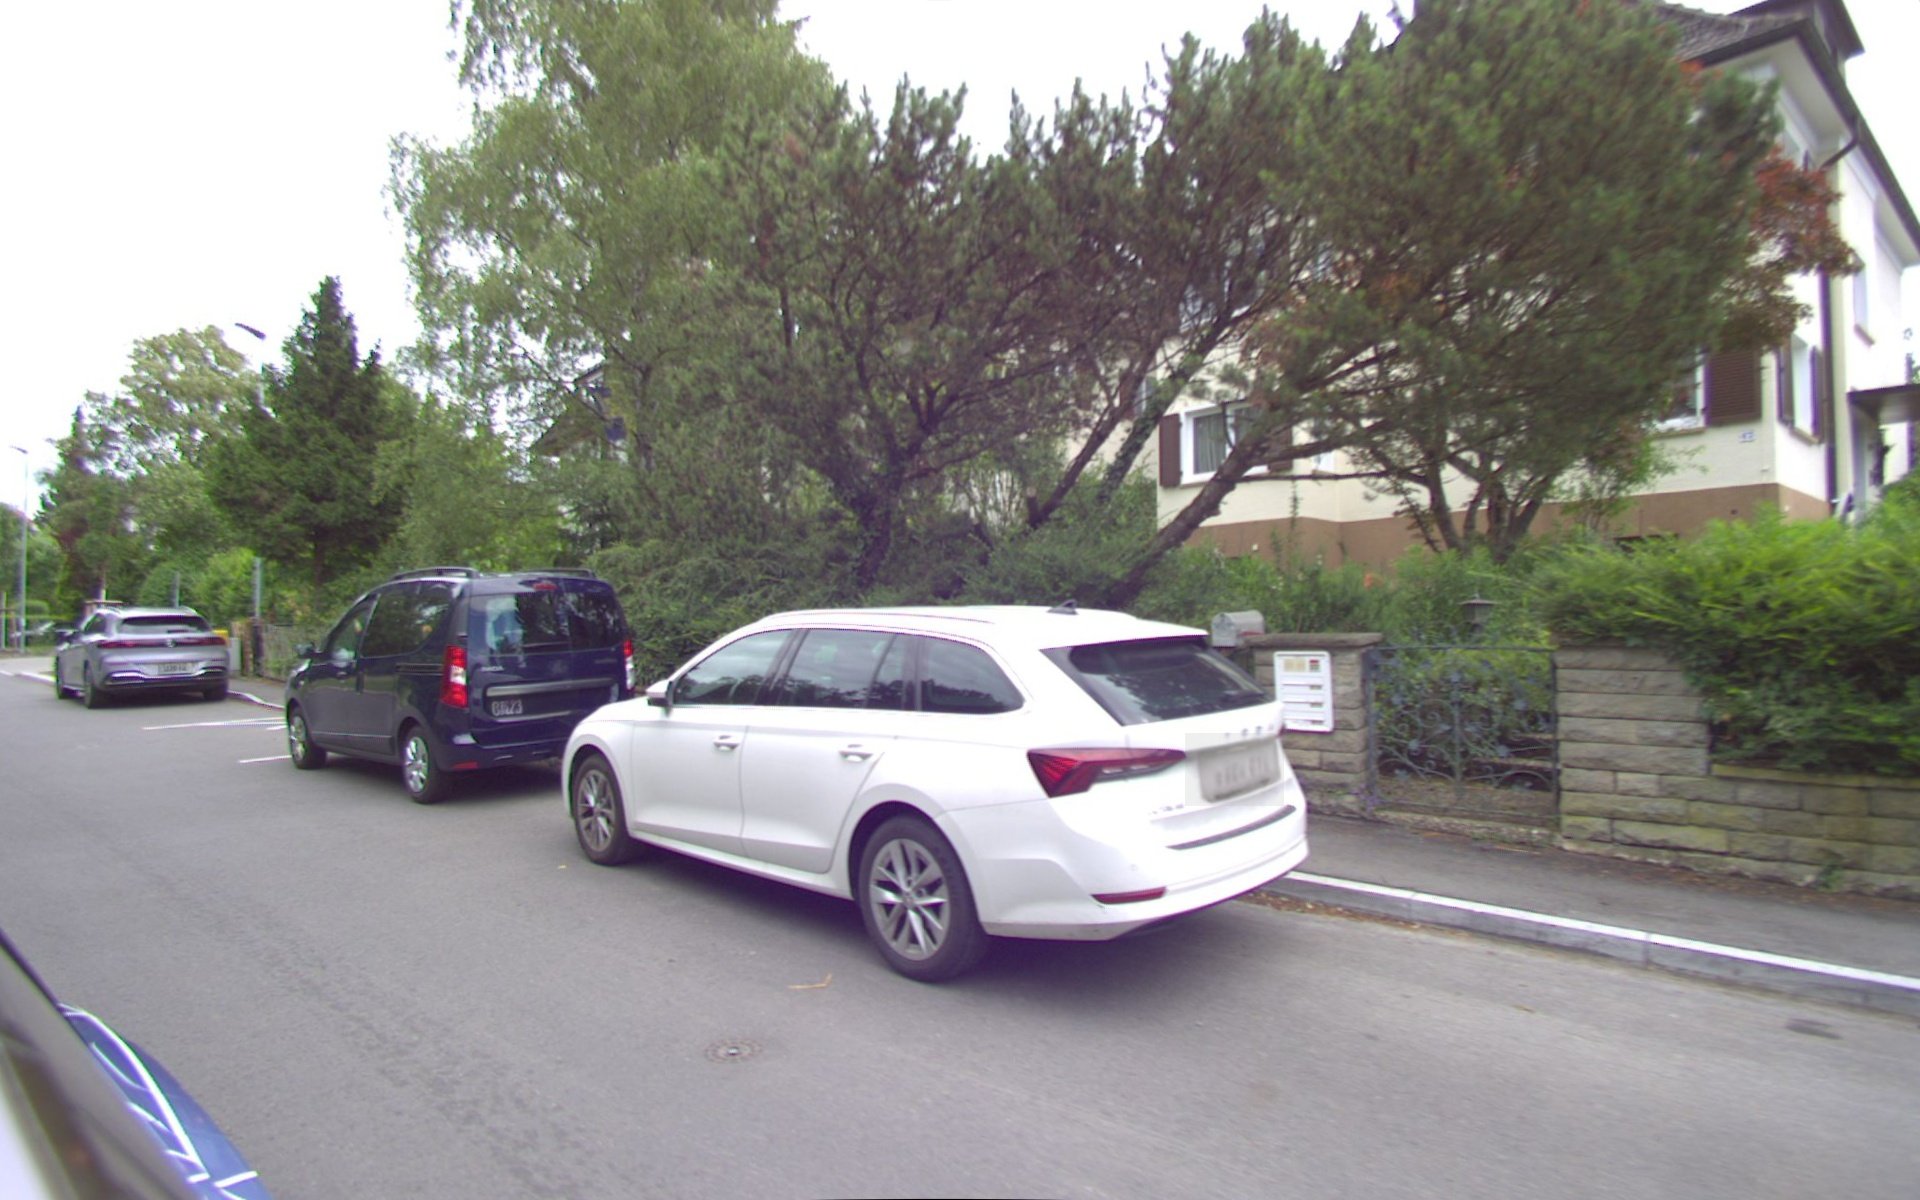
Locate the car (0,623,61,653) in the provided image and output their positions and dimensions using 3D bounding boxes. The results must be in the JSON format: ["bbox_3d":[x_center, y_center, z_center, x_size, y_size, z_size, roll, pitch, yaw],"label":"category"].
[{"bbox_3d":[-52.989,2.110,56.810,3.720,1.602,1.642,0,-1,-43],"label":"car"}]

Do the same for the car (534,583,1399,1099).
[{"bbox_3d":[-0.393,0.757,5.206,4.556,1.523,1.687,-2,-1,44],"label":"car"}]

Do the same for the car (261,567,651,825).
[{"bbox_3d":[-4.727,0.715,9.187,4.296,1.813,1.689,-1,-1,41],"label":"car"}]

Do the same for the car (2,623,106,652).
[{"bbox_3d":[-44.839,1.840,50.138,1.640,1.324,3.724,-2,-1,42],"label":"car"}]

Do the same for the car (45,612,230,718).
[{"bbox_3d":[-14.584,1.052,17.844,4.728,1.619,1.777,-1,-1,41],"label":"car"}]
